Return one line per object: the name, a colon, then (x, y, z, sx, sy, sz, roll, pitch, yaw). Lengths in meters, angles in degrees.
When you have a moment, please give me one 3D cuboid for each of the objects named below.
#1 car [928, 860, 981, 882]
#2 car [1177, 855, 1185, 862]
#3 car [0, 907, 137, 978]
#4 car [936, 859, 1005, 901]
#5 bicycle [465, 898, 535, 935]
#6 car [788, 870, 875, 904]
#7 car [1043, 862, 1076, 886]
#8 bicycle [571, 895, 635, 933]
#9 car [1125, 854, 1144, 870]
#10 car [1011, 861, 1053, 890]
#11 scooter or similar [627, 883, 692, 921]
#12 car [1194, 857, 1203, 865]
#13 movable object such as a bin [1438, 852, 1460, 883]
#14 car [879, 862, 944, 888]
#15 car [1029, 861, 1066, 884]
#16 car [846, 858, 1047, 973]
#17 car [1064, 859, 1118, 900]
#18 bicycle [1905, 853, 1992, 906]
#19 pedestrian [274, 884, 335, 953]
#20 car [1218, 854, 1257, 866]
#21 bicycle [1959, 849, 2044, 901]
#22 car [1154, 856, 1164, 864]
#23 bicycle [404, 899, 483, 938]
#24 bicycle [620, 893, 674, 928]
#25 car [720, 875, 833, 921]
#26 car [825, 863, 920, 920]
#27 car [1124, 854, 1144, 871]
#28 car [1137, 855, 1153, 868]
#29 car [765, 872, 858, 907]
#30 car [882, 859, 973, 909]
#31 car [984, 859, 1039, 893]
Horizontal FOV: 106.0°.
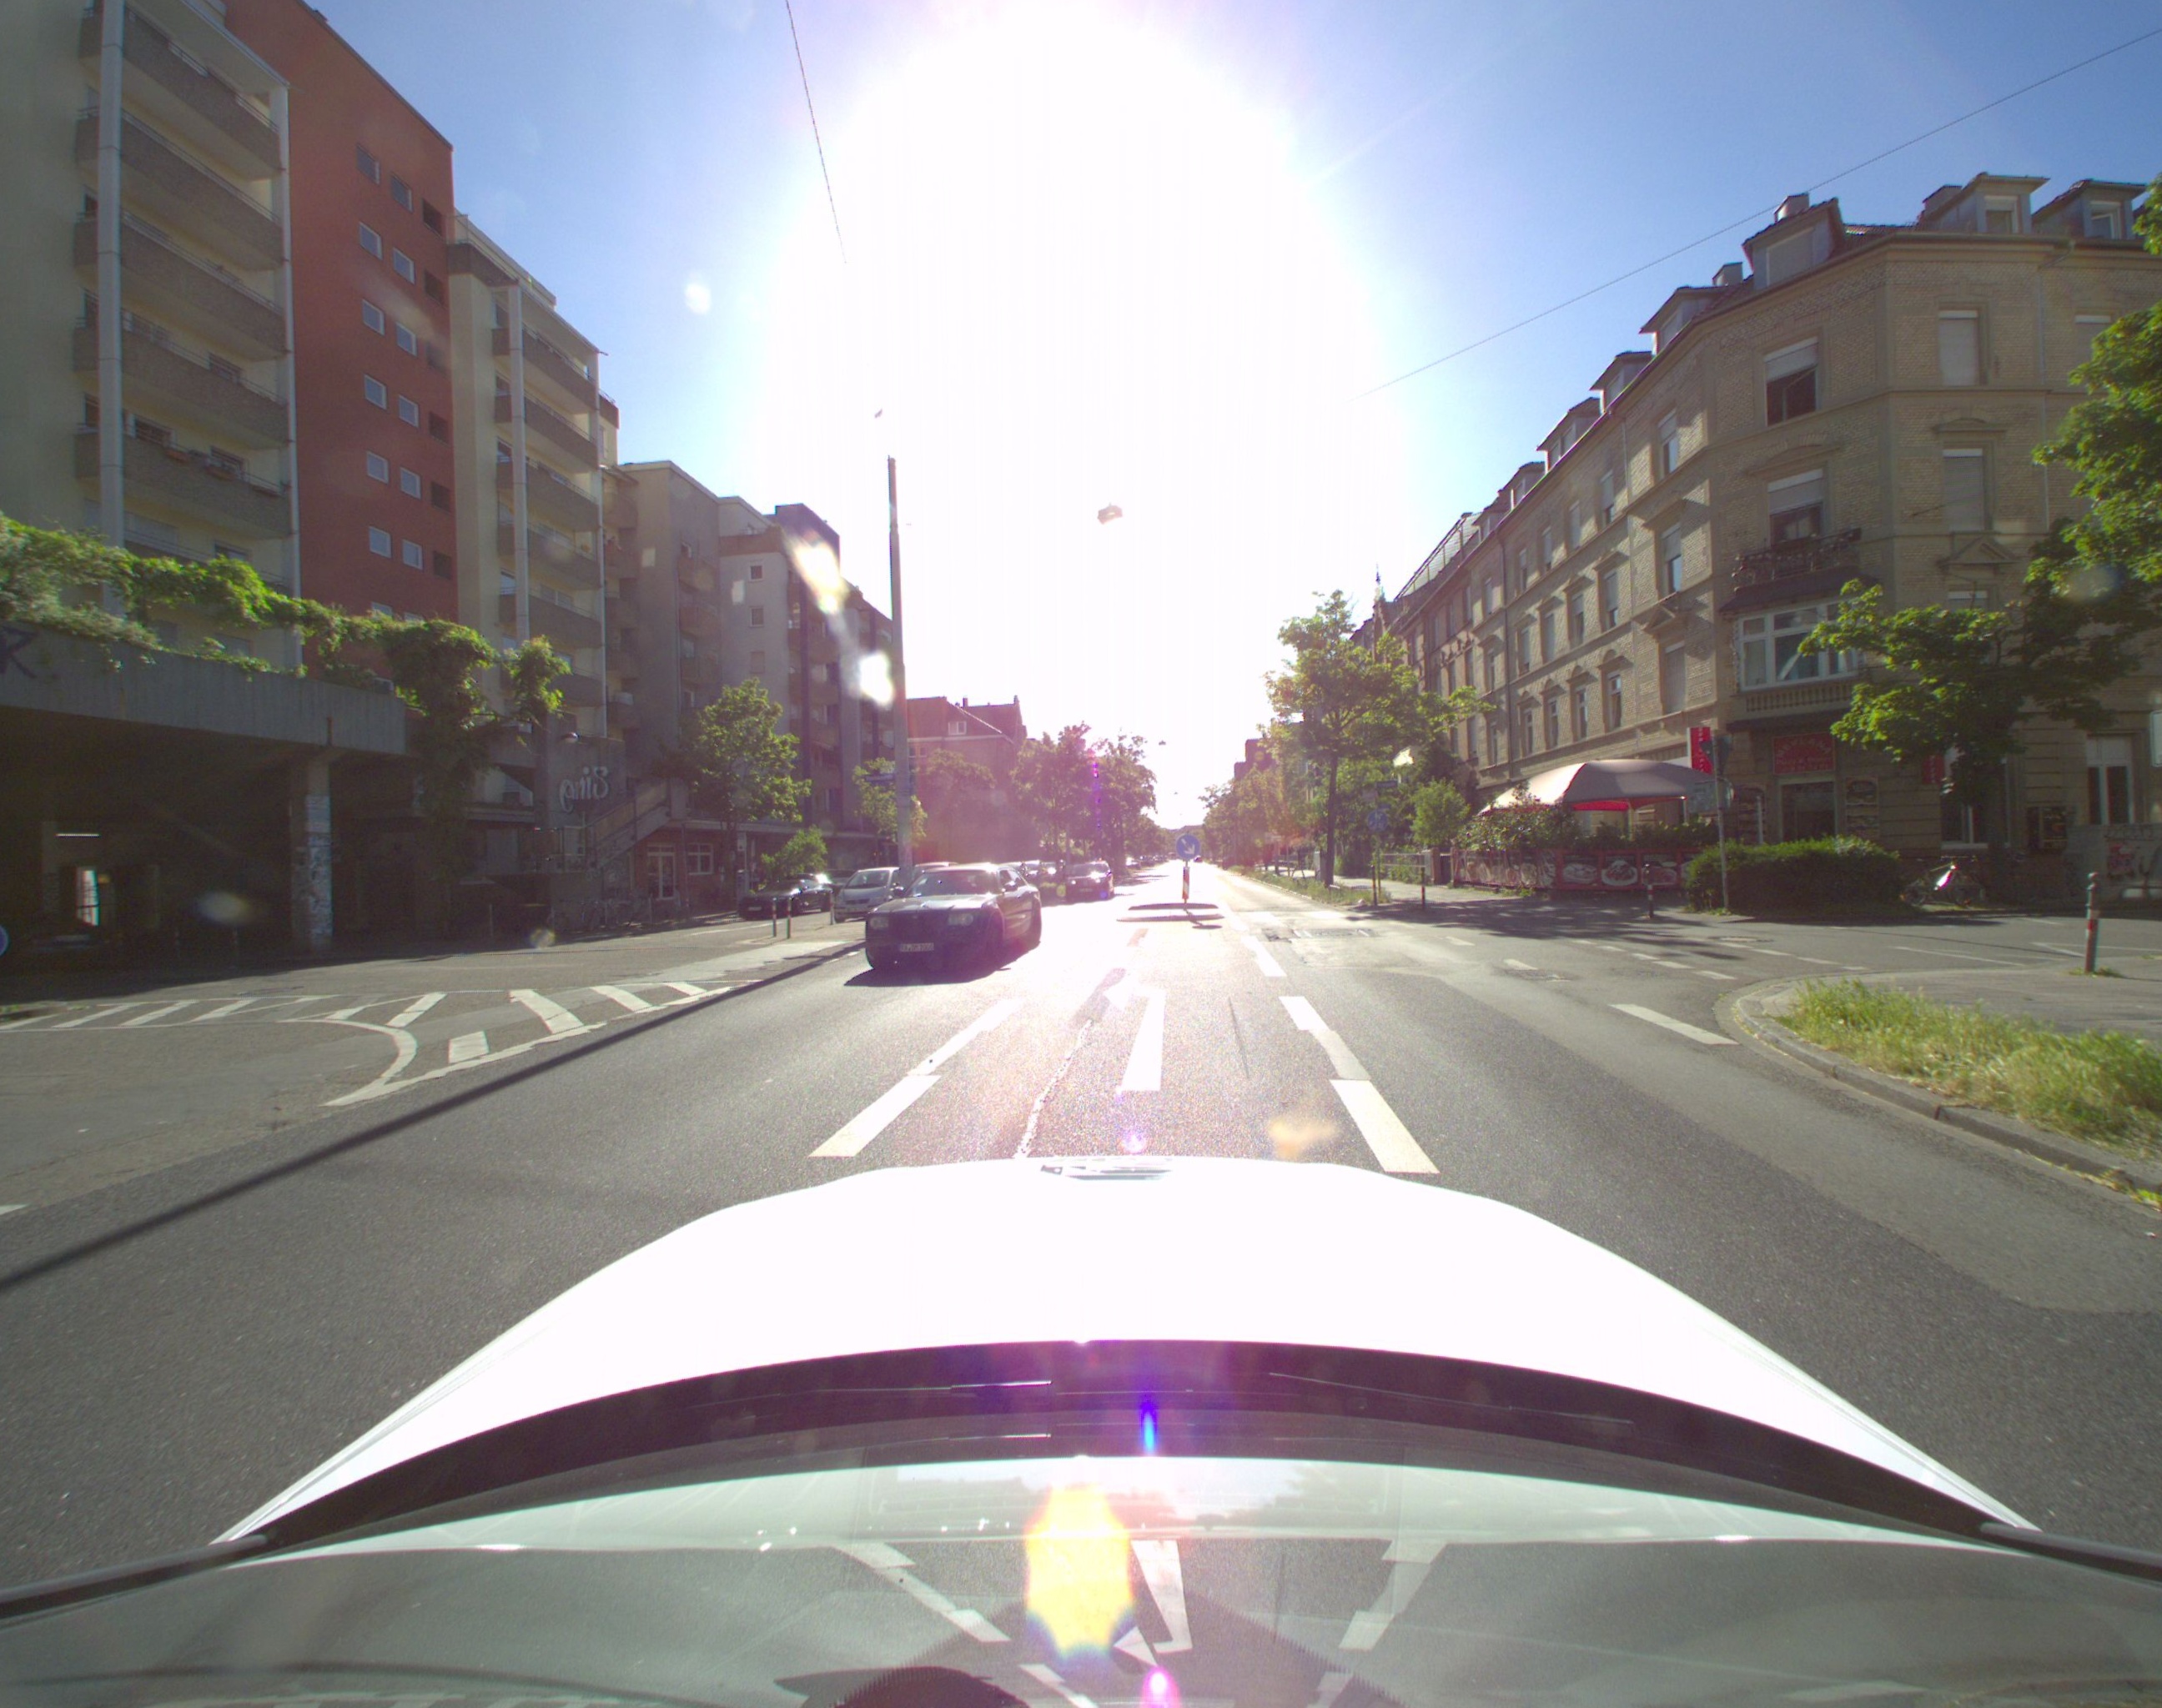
car: (-10.582, 1.404, 68.247, 3.970, 1.629, 1.689, -2, -1, 3)
car: (26.621, 1.199, 216.894, 1.748, 1.783, 4.009, -2, 0, 8)
car: (-24.605, 2.028, 18.549, 4.565, 1.433, 1.862, -2, -2, 9)
car: (-4.912, 1.120, 36.892, 1.878, 1.662, 4.539, -4, -1, 7)
bicycle: (-17.100, 1.831, 24.005, 1.615, 1.001, 0.413, 0, 0, -16)
car: (-13.238, 1.765, 43.403, 3.970, 1.607, 1.843, -2, -1, 3)
car: (-1.554, 1.449, 59.741, 1.753, 1.646, 4.008, -2, 0, 7)
bicycle: (-14.743, 1.842, 25.157, 0.410, 1.031, 1.812, 1, 1, 24)
car: (7.198, 1.080, 109.668, 1.981, 2.013, 4.216, -3, 0, 9)
car: (-2.940, 1.275, 49.287, 1.742, 1.553, 4.008, -3, 0, 7)
scooter or similar: (-15.271, 1.736, 29.519, 1.959, 1.277, 0.631, -2, 0, 2)
car: (26.883, 1.613, 186.378, 1.940, 1.708, 4.009, -2, 0, 8)
movable object such as a bin: (13.680, 0.503, 30.264, 0.565, 1.133, 0.553, -2, -1, 8)
car: (-11.692, 1.461, 56.328, 3.970, 1.629, 1.689, -2, -1, 3)
car: (-2.201, 1.231, 54.567, 1.745, 1.398, 4.008, -2, 0, 7)
car: (-1.924, 0.853, 13.237, 1.855, 1.458, 4.603, -3, 0, 8)
car: (0.428, 0.939, 31.547, 1.642, 1.428, 3.514, -2, 0, 7)
bicycle: (16.816, 0.493, 15.797, 1.306, 0.974, 0.393, -2, -1, -4)
pedestrian: (-19.903, 1.627, 20.886, 0.751, 1.699, 0.798, 0, -1, 6)
car: (17.118, 0.673, 89.161, 4.014, 1.223, 1.785, -2, 0, -32)
bicycle: (18.374, 0.420, 16.265, 1.306, 0.974, 0.393, -2, -1, -4)
car: (17.233, 1.361, 179.515, 1.981, 1.695, 4.011, -3, 0, 10)
bicycle: (-18.191, 1.833, 23.256, 1.791, 1.001, 0.484, -2, 0, -1)
bicycle: (-14.383, 1.854, 27.066, 0.411, 1.001, 1.810, 1, 1, 17)
car: (-11.302, 1.609, 30.643, 1.879, 1.398, 4.541, -3, 0, 9)
car: (-6.351, 1.106, 25.195, 1.711, 1.518, 3.536, -3, 0, 5)
car: (6.739, 1.047, 103.834, 1.981, 2.013, 4.217, -3, 0, 10)
car: (10.288, 1.193, 130.703, 2.049, 2.013, 4.641, -3, 0, 9)
car: (-13.480, 1.754, 40.804, 3.970, 1.551, 1.771, -2, -1, 3)
car: (-5.599, 1.046, 30.310, 1.857, 1.627, 4.515, -3, 0, 8)
car: (-3.655, 1.154, 43.442, 1.852, 1.587, 4.011, -4, 0, 9)
